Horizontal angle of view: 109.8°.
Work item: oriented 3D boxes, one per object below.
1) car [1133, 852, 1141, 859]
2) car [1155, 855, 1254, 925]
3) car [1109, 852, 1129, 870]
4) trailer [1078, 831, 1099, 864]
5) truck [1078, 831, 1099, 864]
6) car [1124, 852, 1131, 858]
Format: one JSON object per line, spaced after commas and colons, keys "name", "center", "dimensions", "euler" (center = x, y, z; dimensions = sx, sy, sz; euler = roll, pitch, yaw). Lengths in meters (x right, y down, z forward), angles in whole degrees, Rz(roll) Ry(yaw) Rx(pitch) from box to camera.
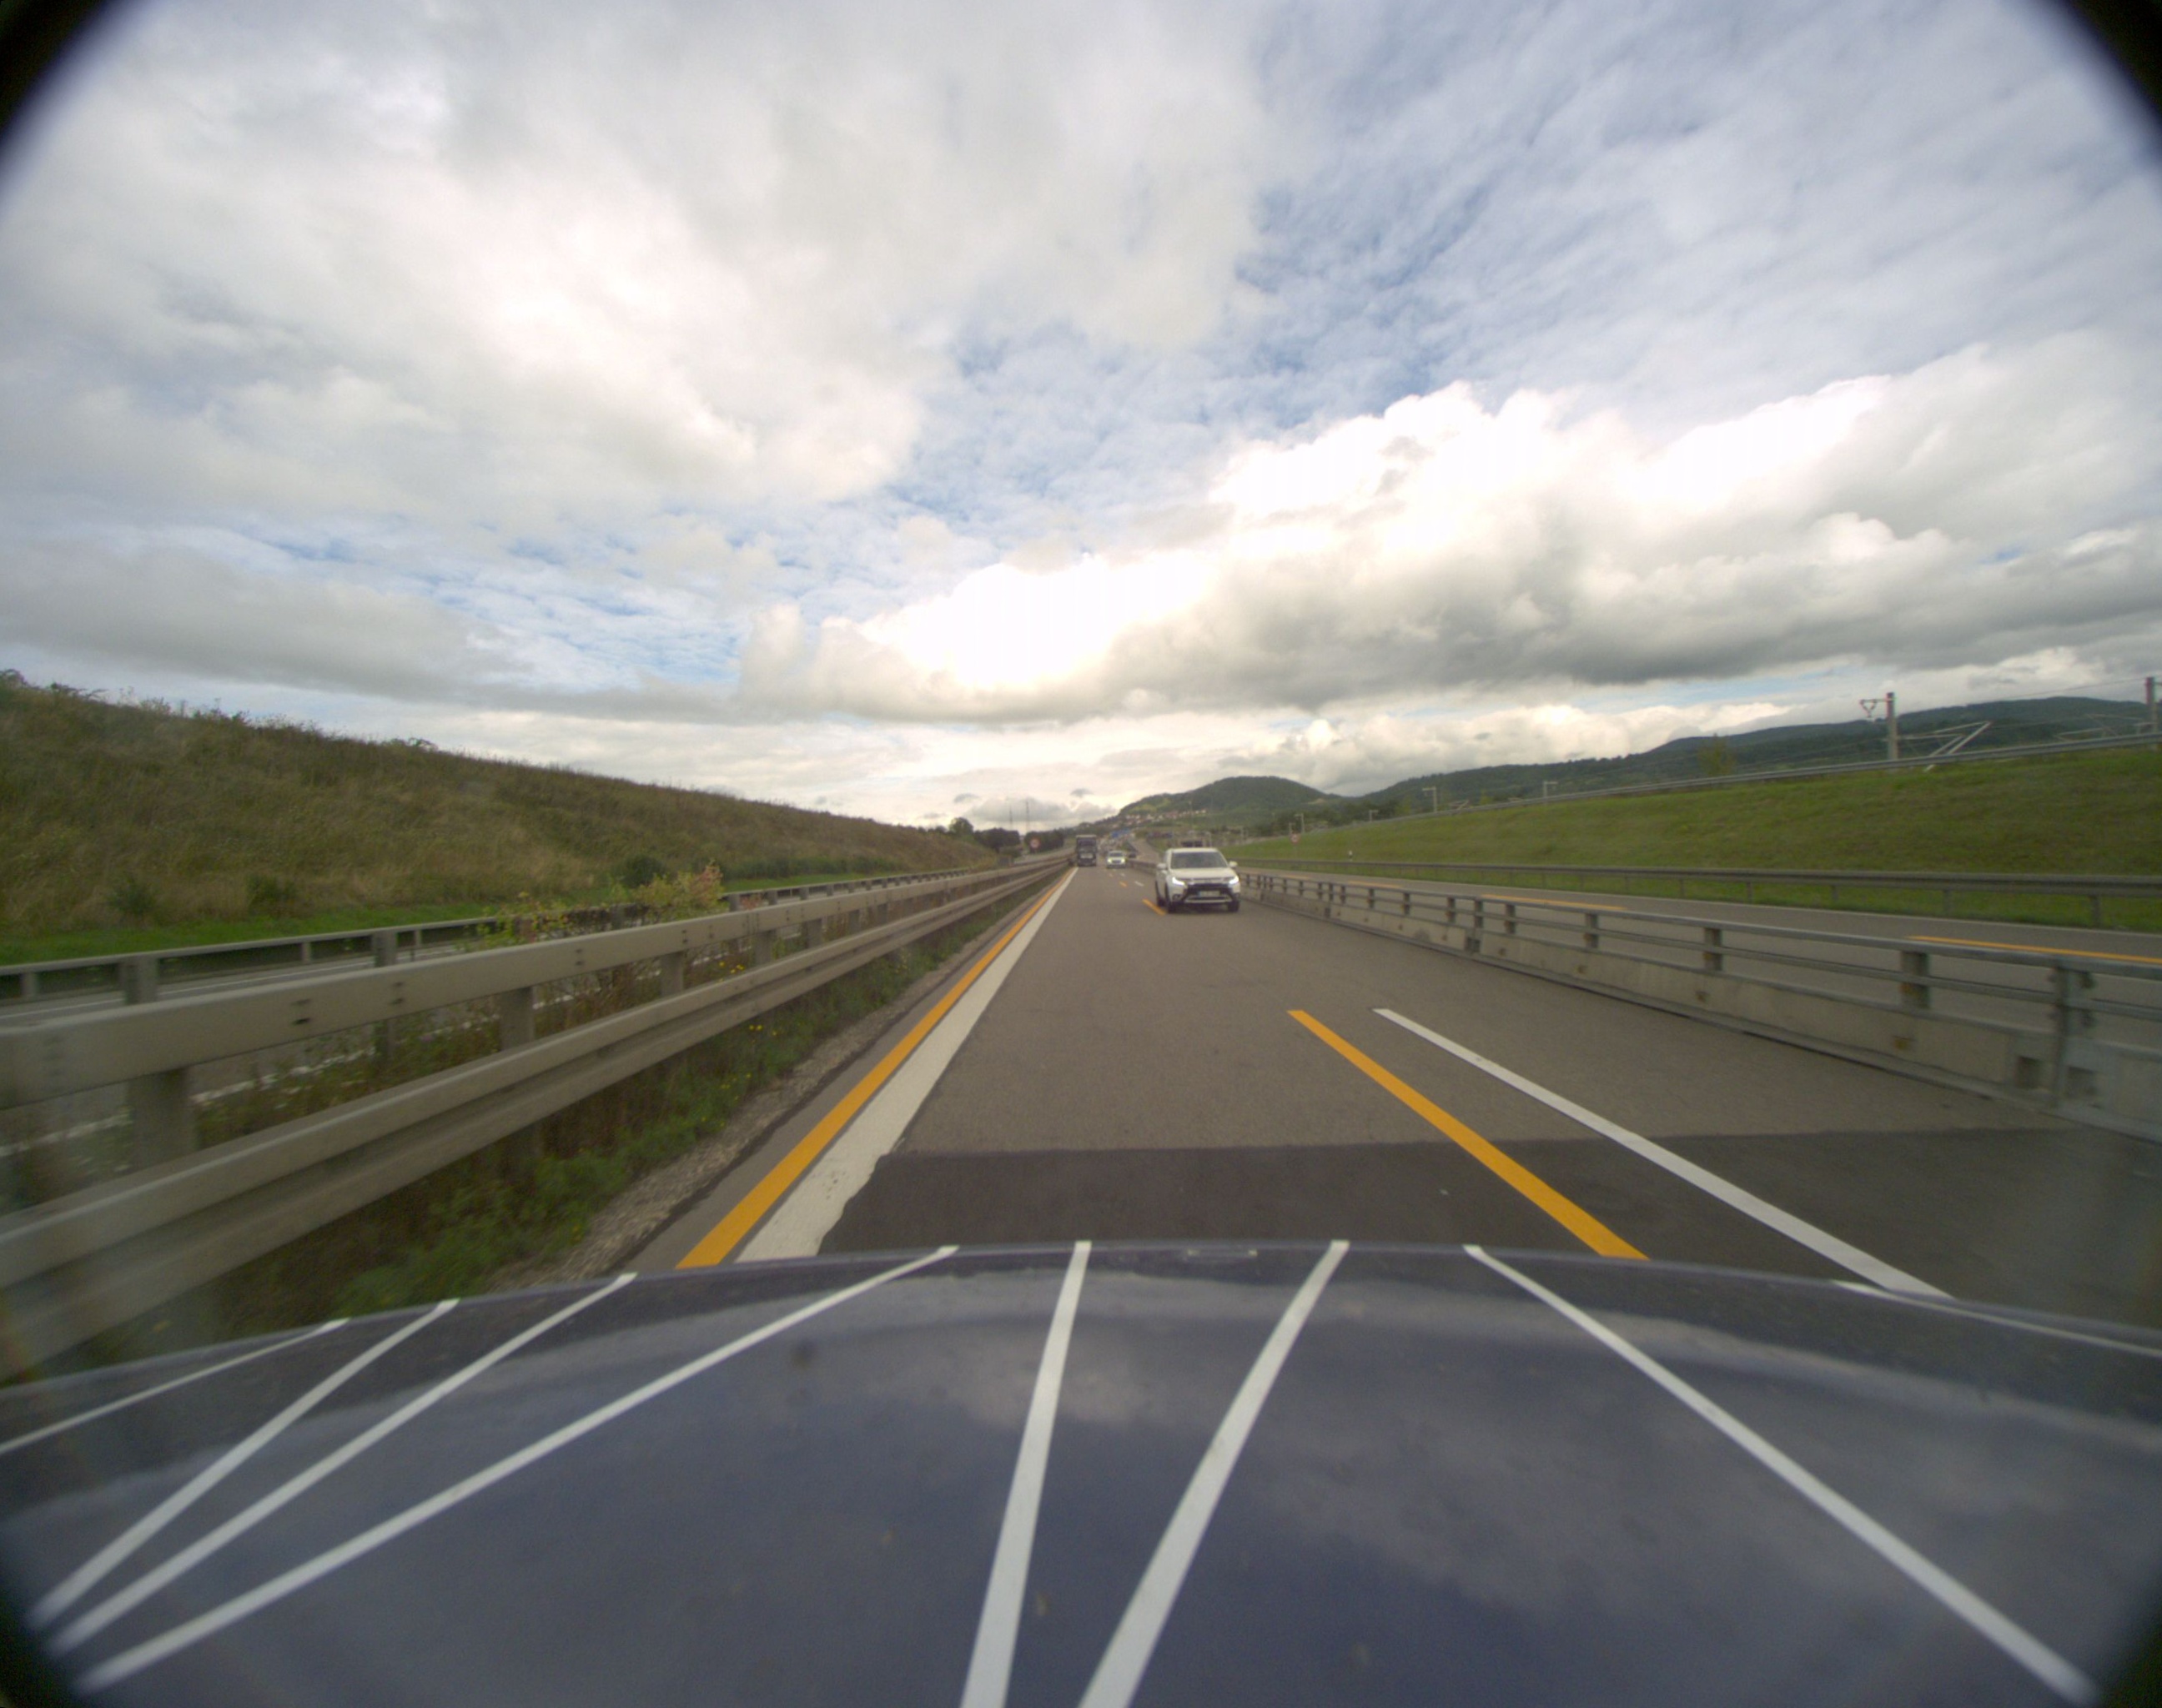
{"name": "car", "center": [13.152, 0.348, 178.860], "dimensions": [1.792, 1.507, 4.135], "euler": [-1, 1, 1]}
{"name": "car", "center": [3.136, 0.859, 20.279], "dimensions": [1.998, 1.618, 4.607], "euler": [-1, 0, 2]}
{"name": "car", "center": [4.094, 0.756, 83.002], "dimensions": [1.991, 1.787, 4.586], "euler": [-2, 0, 1]}
{"name": "trailer", "center": [1.095, -0.848, 103.353], "dimensions": [2.521, 4.081, 11.113], "euler": [-2, 0, 1]}
{"name": "truck", "center": [0.979, -0.805, 98.375], "dimensions": [2.521, 4.081, 5.685], "euler": [-2, 0, 1]}
{"name": "car", "center": [13.107, 0.240, 213.781], "dimensions": [1.894, 1.517, 4.182], "euler": [-1, 0, 1]}
